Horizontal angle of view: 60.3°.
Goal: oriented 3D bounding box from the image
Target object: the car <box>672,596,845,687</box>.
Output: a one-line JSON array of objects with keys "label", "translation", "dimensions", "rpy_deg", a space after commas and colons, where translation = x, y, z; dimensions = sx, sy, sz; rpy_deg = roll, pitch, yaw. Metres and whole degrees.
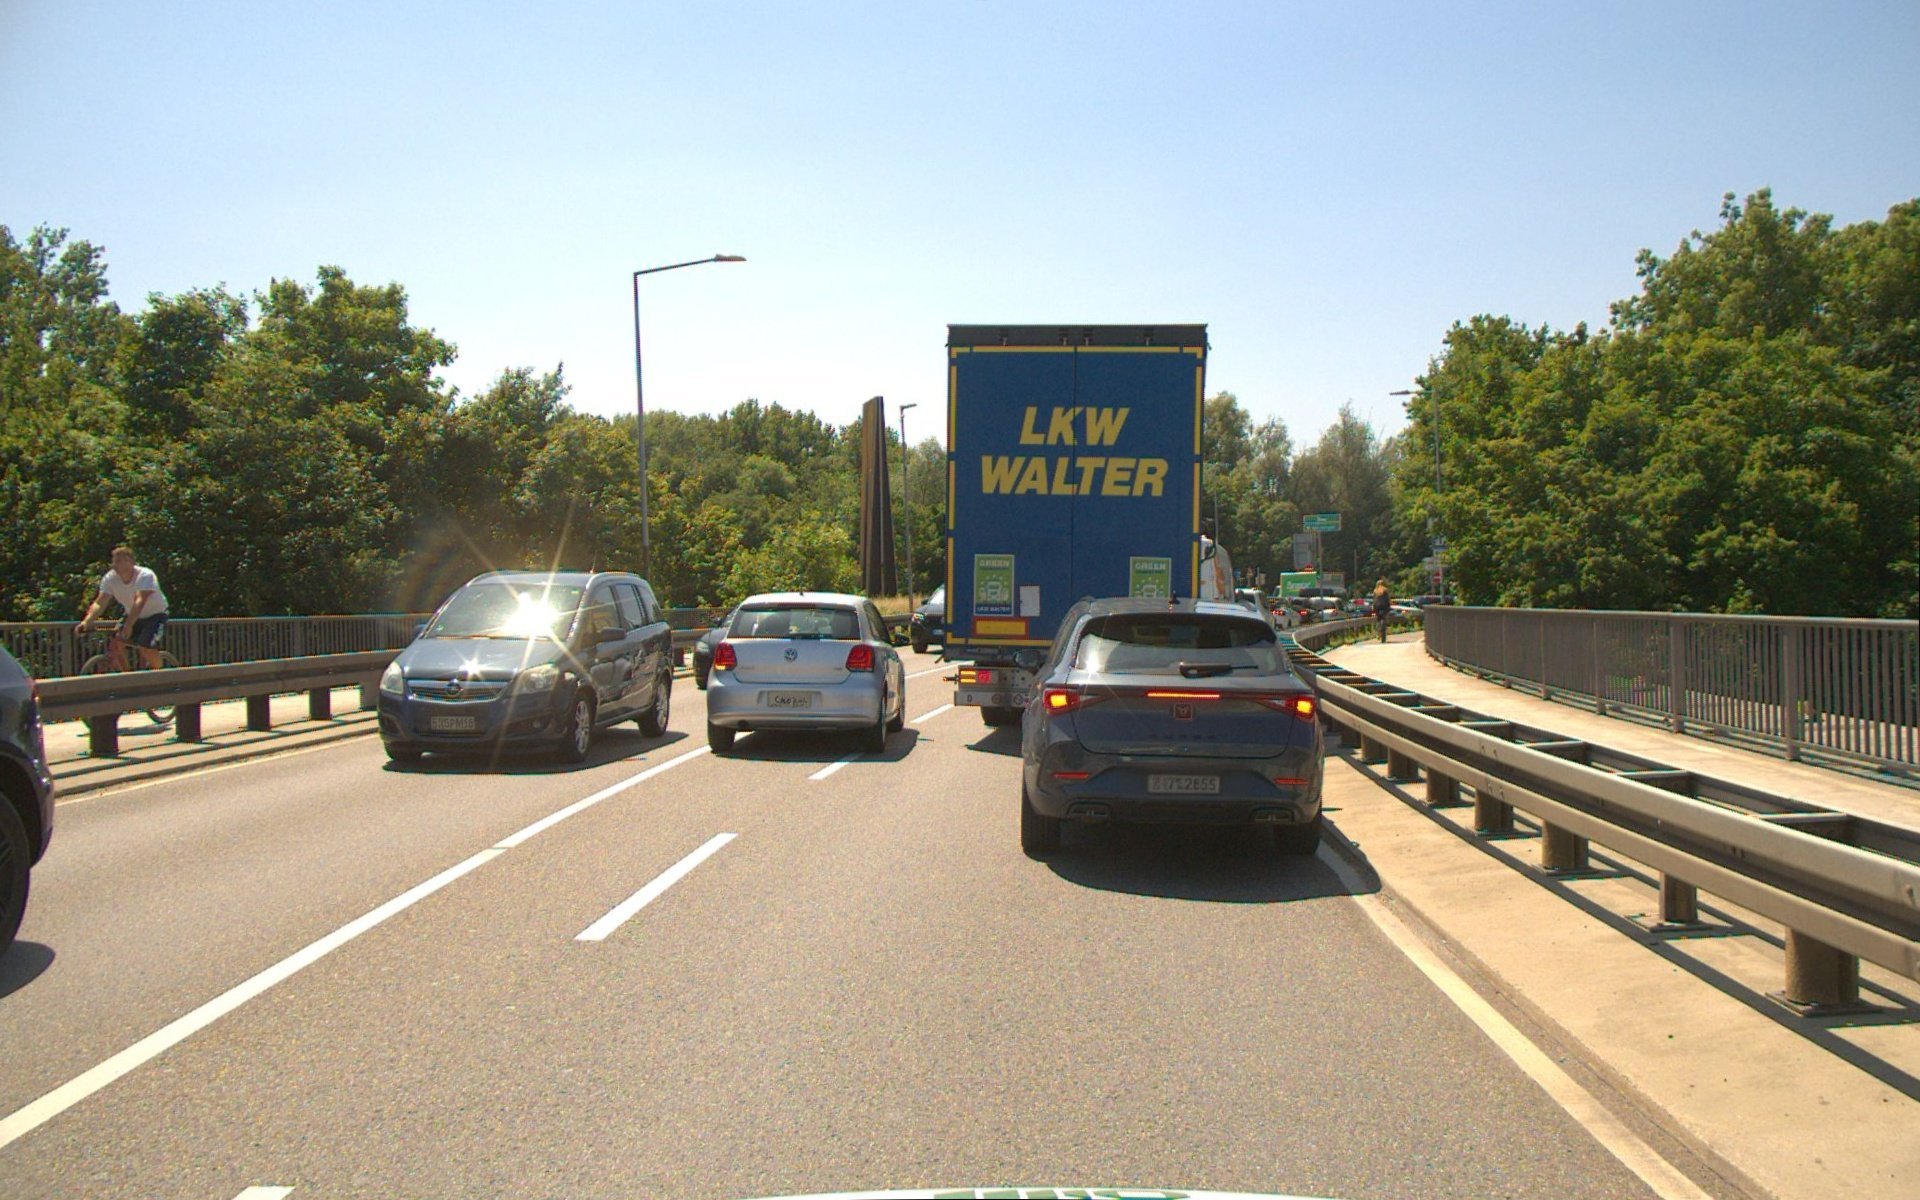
[{"label": "car", "translation": [-3.136, 0.609, 26.571], "dimensions": [1.642, 1.331, 3.976], "rpy_deg": [0, 0, 10]}]

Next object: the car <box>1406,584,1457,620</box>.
[{"label": "car", "translation": [24.048, 0.110, 84.274], "dimensions": [1.654, 1.791, 3.993], "rpy_deg": [0, 0, 29]}]

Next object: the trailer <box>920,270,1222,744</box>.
[{"label": "trailer", "translation": [1.839, -0.951, 22.038], "dimensions": [2.842, 4.496, 12.443], "rpy_deg": [1, 1, 7]}]

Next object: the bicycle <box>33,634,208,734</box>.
[{"label": "bicycle", "translation": [-8.034, 0.780, 15.935], "dimensions": [0.576, 0.848, 1.992], "rpy_deg": [0, 0, 3]}]

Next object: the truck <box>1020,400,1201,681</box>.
[{"label": "truck", "translation": [2.897, -0.999, 29.948], "dimensions": [2.842, 4.496, 6.561], "rpy_deg": [1, 0, 9]}]

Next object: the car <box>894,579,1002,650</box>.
[{"label": "car", "translation": [-0.229, 0.341, 42.288], "dimensions": [1.924, 1.702, 4.618], "rpy_deg": [0, 0, 10]}]

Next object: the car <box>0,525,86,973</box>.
[{"label": "car", "translation": [-4.476, 0.567, 4.615], "dimensions": [1.764, 1.669, 4.301], "rpy_deg": [0, 0, 0]}]

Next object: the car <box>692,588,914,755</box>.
[{"label": "car", "translation": [-1.442, 0.613, 16.542], "dimensions": [1.642, 1.435, 3.976], "rpy_deg": [1, 1, 3]}]

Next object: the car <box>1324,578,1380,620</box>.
[{"label": "car", "translation": [17.181, -0.039, 72.363], "dimensions": [1.652, 1.791, 3.997], "rpy_deg": [0, 0, 24]}]

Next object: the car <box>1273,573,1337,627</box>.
[{"label": "car", "translation": [12.428, -0.014, 59.471], "dimensions": [1.685, 1.876, 4.001], "rpy_deg": [0, 1, 20]}]

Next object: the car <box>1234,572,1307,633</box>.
[{"label": "car", "translation": [9.772, 0.045, 51.807], "dimensions": [1.685, 1.834, 4.002], "rpy_deg": [0, 1, 19]}]

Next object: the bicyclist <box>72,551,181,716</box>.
[{"label": "bicyclist", "translation": [-8.041, 0.314, 15.980], "dimensions": [0.571, 1.548, 0.896], "rpy_deg": [0, 0, 3]}]

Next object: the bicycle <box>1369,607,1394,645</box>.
[{"label": "bicycle", "translation": [12.209, 0.748, 47.956], "dimensions": [0.569, 1.053, 1.486], "rpy_deg": [-2, 0, 11]}]

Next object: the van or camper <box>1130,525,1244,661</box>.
[{"label": "van or camper", "translation": [5.330, -0.178, 38.101], "dimensions": [2.108, 2.864, 6.393], "rpy_deg": [0, 1, 12]}]

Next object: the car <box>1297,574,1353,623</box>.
[{"label": "car", "translation": [14.552, -0.085, 65.789], "dimensions": [1.685, 1.876, 4.001], "rpy_deg": [0, 1, 20]}]

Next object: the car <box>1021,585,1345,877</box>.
[{"label": "car", "translation": [1.261, 0.656, 10.461], "dimensions": [1.642, 1.481, 3.960], "rpy_deg": [0, 0, 3]}]

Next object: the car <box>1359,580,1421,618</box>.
[{"label": "car", "translation": [20.467, -0.024, 78.643], "dimensions": [1.955, 1.603, 3.994], "rpy_deg": [2, -1, 27]}]

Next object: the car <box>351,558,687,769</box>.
[{"label": "car", "translation": [-3.882, 0.489, 15.341], "dimensions": [1.671, 1.654, 4.255], "rpy_deg": [1, 0, 4]}]

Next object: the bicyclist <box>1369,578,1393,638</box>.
[{"label": "bicyclist", "translation": [12.191, 0.219, 47.939], "dimensions": [0.565, 1.712, 0.730], "rpy_deg": [-2, 0, 11]}]

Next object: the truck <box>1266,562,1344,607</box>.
[{"label": "truck", "translation": [22.677, -1.027, 108.951], "dimensions": [2.301, 2.924, 5.904], "rpy_deg": [0, 1, -21]}]

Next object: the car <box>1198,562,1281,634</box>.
[{"label": "car", "translation": [7.703, -0.087, 45.345], "dimensions": [1.685, 1.876, 4.002], "rpy_deg": [0, 1, 18]}]
